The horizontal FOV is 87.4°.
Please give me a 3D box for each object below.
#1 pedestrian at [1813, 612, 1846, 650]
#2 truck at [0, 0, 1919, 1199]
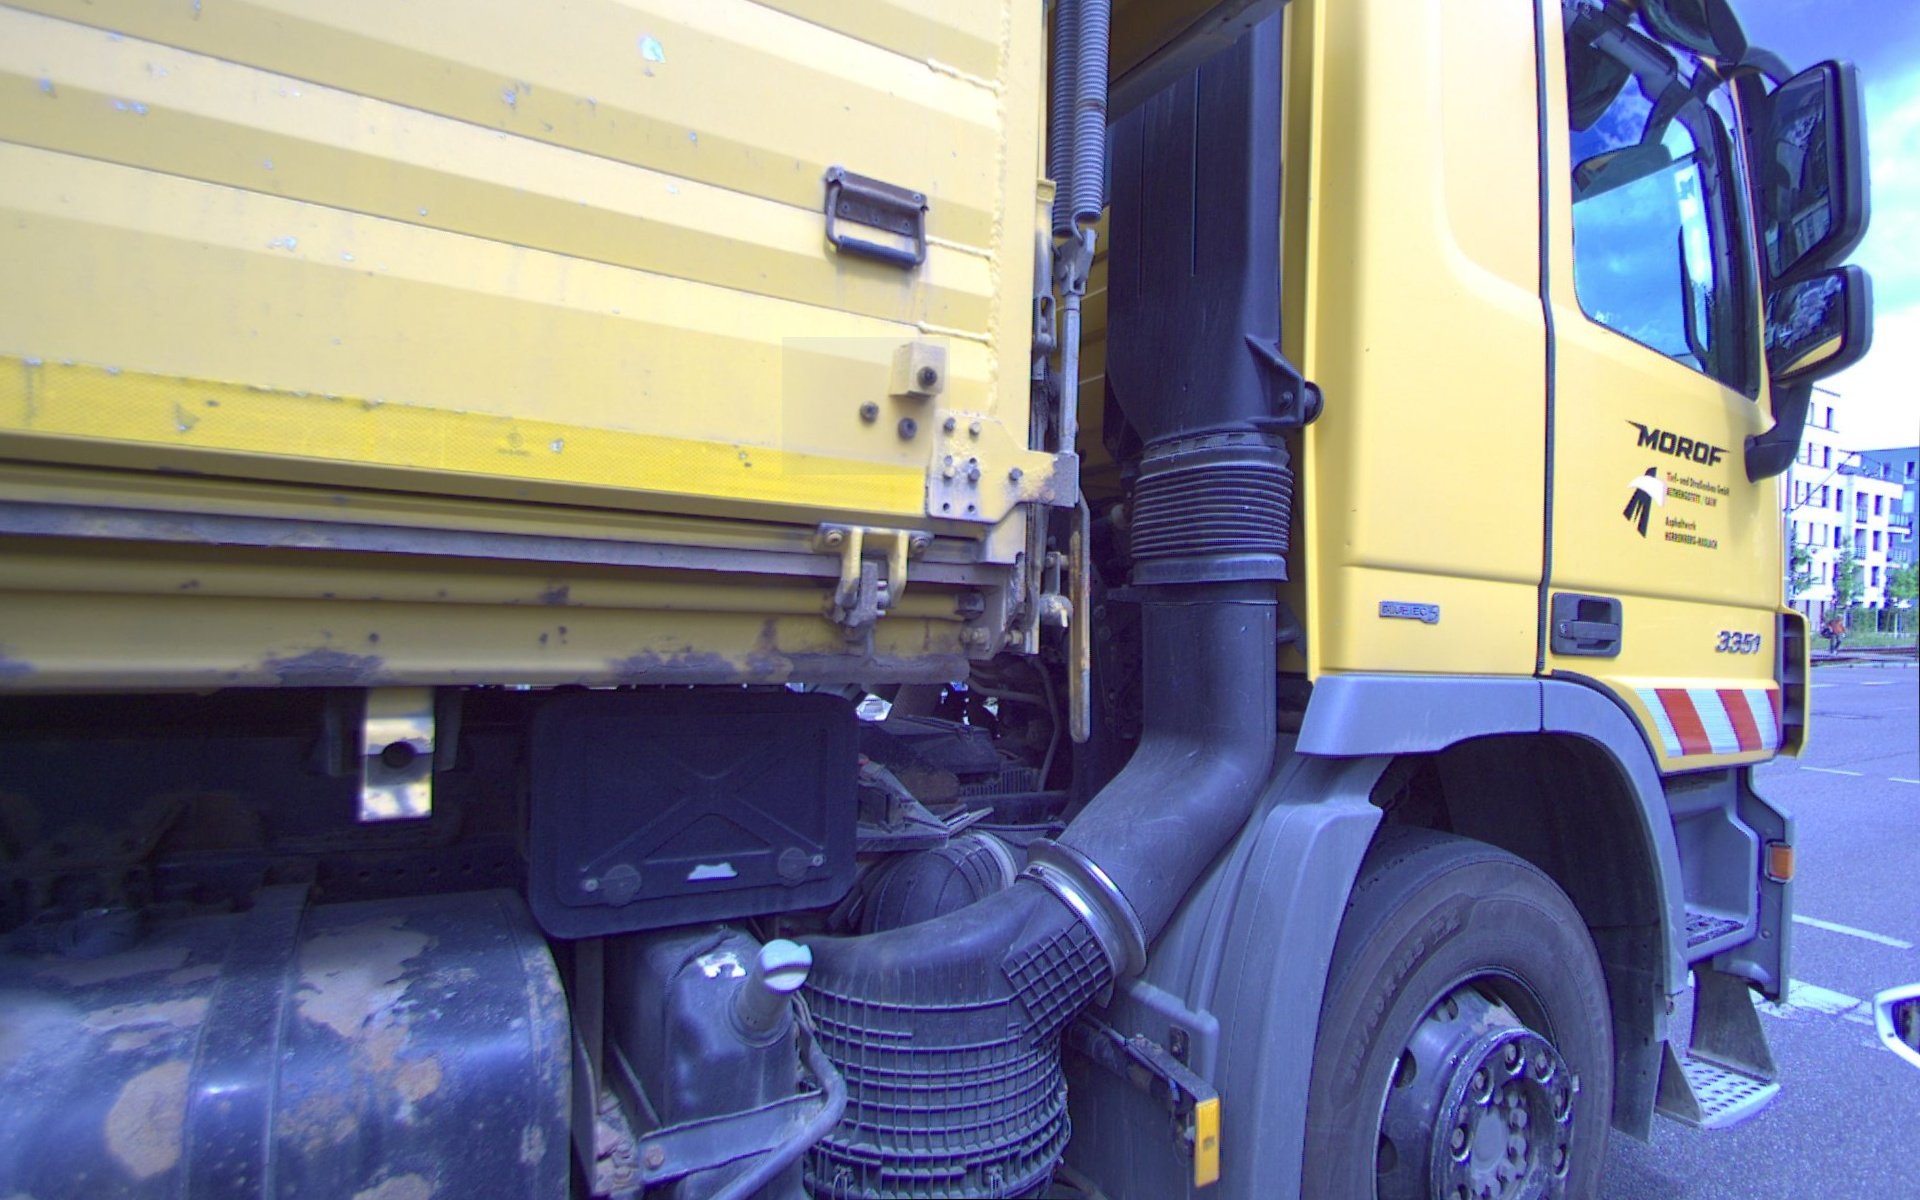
[{"bbox_3d":[35.498,1.259,41.002,0.628,1.536,0.827,1,0,-30],"label":"pedestrian"},{"bbox_3d":[-1.685,-0.232,1.743,7.916,3.439,3.033,1,0,-32],"label":"truck"}]
